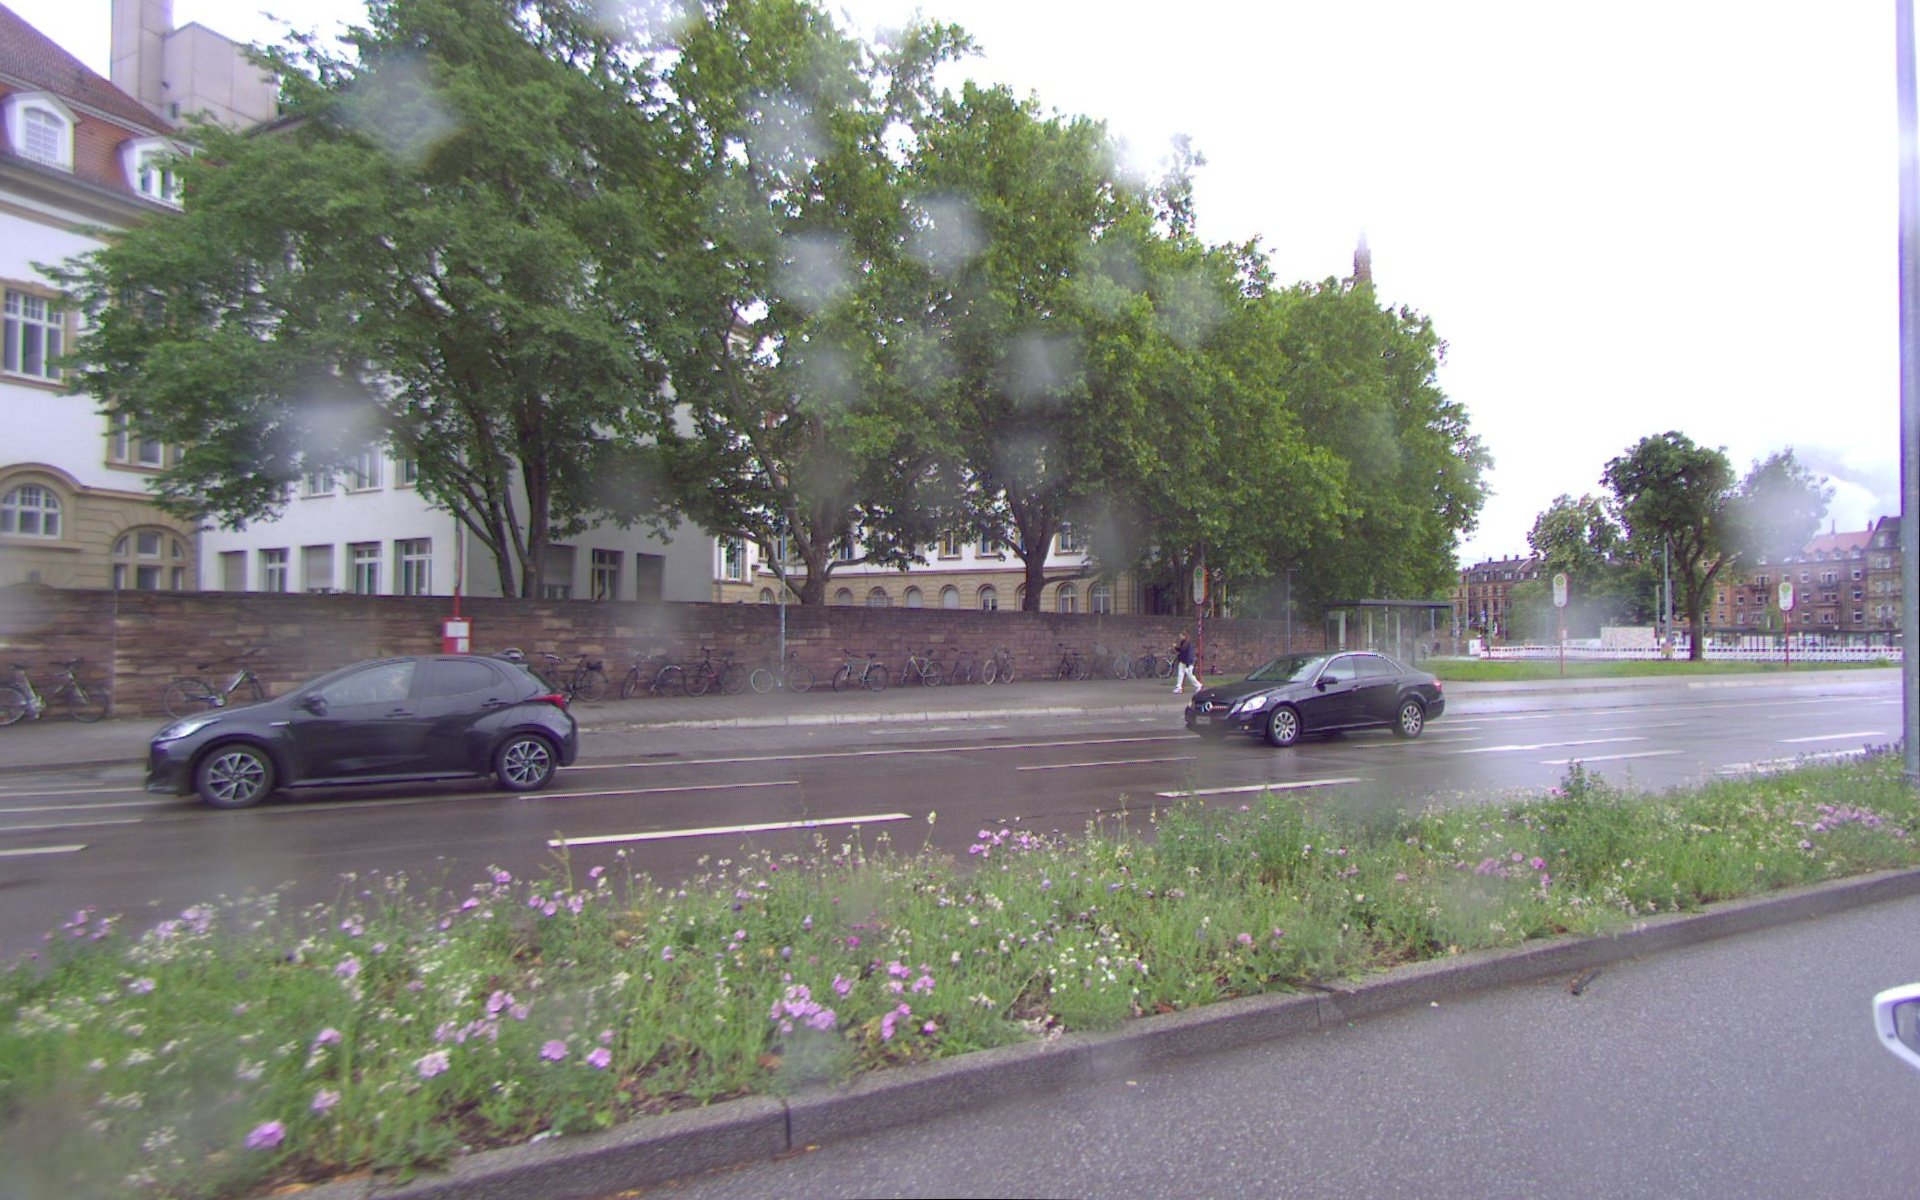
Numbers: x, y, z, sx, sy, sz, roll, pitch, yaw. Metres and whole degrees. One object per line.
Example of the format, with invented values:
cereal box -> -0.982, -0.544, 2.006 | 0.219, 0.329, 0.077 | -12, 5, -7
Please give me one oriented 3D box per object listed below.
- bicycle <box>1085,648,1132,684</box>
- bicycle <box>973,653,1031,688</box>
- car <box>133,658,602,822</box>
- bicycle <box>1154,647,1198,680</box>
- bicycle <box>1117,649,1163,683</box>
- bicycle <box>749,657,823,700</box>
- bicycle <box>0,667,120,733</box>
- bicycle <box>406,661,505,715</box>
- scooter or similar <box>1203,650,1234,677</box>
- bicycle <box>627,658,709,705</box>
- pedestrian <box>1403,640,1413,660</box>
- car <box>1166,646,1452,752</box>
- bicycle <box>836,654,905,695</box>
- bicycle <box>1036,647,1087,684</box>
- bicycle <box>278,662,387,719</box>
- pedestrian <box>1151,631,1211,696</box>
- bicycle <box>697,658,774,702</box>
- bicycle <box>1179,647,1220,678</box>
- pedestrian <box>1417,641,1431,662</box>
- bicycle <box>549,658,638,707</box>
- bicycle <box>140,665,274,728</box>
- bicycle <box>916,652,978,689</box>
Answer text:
bicycle -> 5.057, 2.228, 34.141 | 0.567, 1.150, 1.980 | -2, -3, 42
bicycle -> 1.269, 2.104, 30.086 | 1.686, 0.996, 0.725 | 2, -2, -39
car -> -6.046, 1.371, 10.747 | 4.013, 1.434, 1.618 | 1, -4, -27
bicycle -> 8.033, 2.337, 37.275 | 1.978, 1.150, 0.567 | 2, -3, -44
bicycle -> 6.409, 2.319, 35.699 | 1.978, 1.150, 0.567 | 2, -3, -44
bicycle -> -4.341, 1.941, 25.112 | 1.686, 0.996, 0.725 | 2, -2, -39
bicycle -> -15.173, 1.652, 16.792 | 1.686, 0.996, 0.725 | 2, -2, -39
bicycle -> -10.282, 1.773, 20.482 | 1.686, 0.996, 0.725 | 2, -2, -39
scooter or similar -> 10.292, 2.515, 39.938 | 1.353, 1.060, 0.567 | 2, -3, -44
bicycle -> -6.735, 1.862, 23.202 | 1.686, 0.996, 0.725 | 2, -2, -39
pedestrian -> 43.159, 4.852, 96.762 | 0.595, 1.915, 0.602 | 1, -2, -30
car -> 5.893, 1.580, 16.898 | 4.642, 1.560, 1.803 | 1, -4, -27
bicycle -> -2.332, 1.934, 26.289 | 1.686, 0.996, 0.725 | 2, -2, -39
bicycle -> 3.289, 2.098, 32.506 | 0.567, 1.150, 1.980 | -2, -3, 42
bicycle -> -11.865, 1.693, 19.020 | 1.686, 0.996, 0.725 | 2, -2, -39
pedestrian -> 6.001, 1.692, 27.258 | 1.385, 1.718, 0.863 | 1, -2, -34
bicycle -> -5.439, 1.916, 24.341 | 1.686, 0.996, 0.725 | 2, -2, -39
bicycle -> 9.288, 2.420, 38.905 | 1.978, 1.150, 0.567 | 2, -3, -44
pedestrian -> 39.702, 4.406, 85.997 | 0.764, 1.801, 0.722 | 1, -2, -24
bicycle -> -8.031, 1.787, 22.042 | 1.686, 0.996, 0.725 | 2, -2, -39
bicycle -> -13.235, 1.678, 17.730 | 1.845, 0.996, 0.727 | 1, -2, -34
bicycle -> -0.366, 2.016, 28.821 | 1.686, 0.996, 0.725 | 2, -2, -39
